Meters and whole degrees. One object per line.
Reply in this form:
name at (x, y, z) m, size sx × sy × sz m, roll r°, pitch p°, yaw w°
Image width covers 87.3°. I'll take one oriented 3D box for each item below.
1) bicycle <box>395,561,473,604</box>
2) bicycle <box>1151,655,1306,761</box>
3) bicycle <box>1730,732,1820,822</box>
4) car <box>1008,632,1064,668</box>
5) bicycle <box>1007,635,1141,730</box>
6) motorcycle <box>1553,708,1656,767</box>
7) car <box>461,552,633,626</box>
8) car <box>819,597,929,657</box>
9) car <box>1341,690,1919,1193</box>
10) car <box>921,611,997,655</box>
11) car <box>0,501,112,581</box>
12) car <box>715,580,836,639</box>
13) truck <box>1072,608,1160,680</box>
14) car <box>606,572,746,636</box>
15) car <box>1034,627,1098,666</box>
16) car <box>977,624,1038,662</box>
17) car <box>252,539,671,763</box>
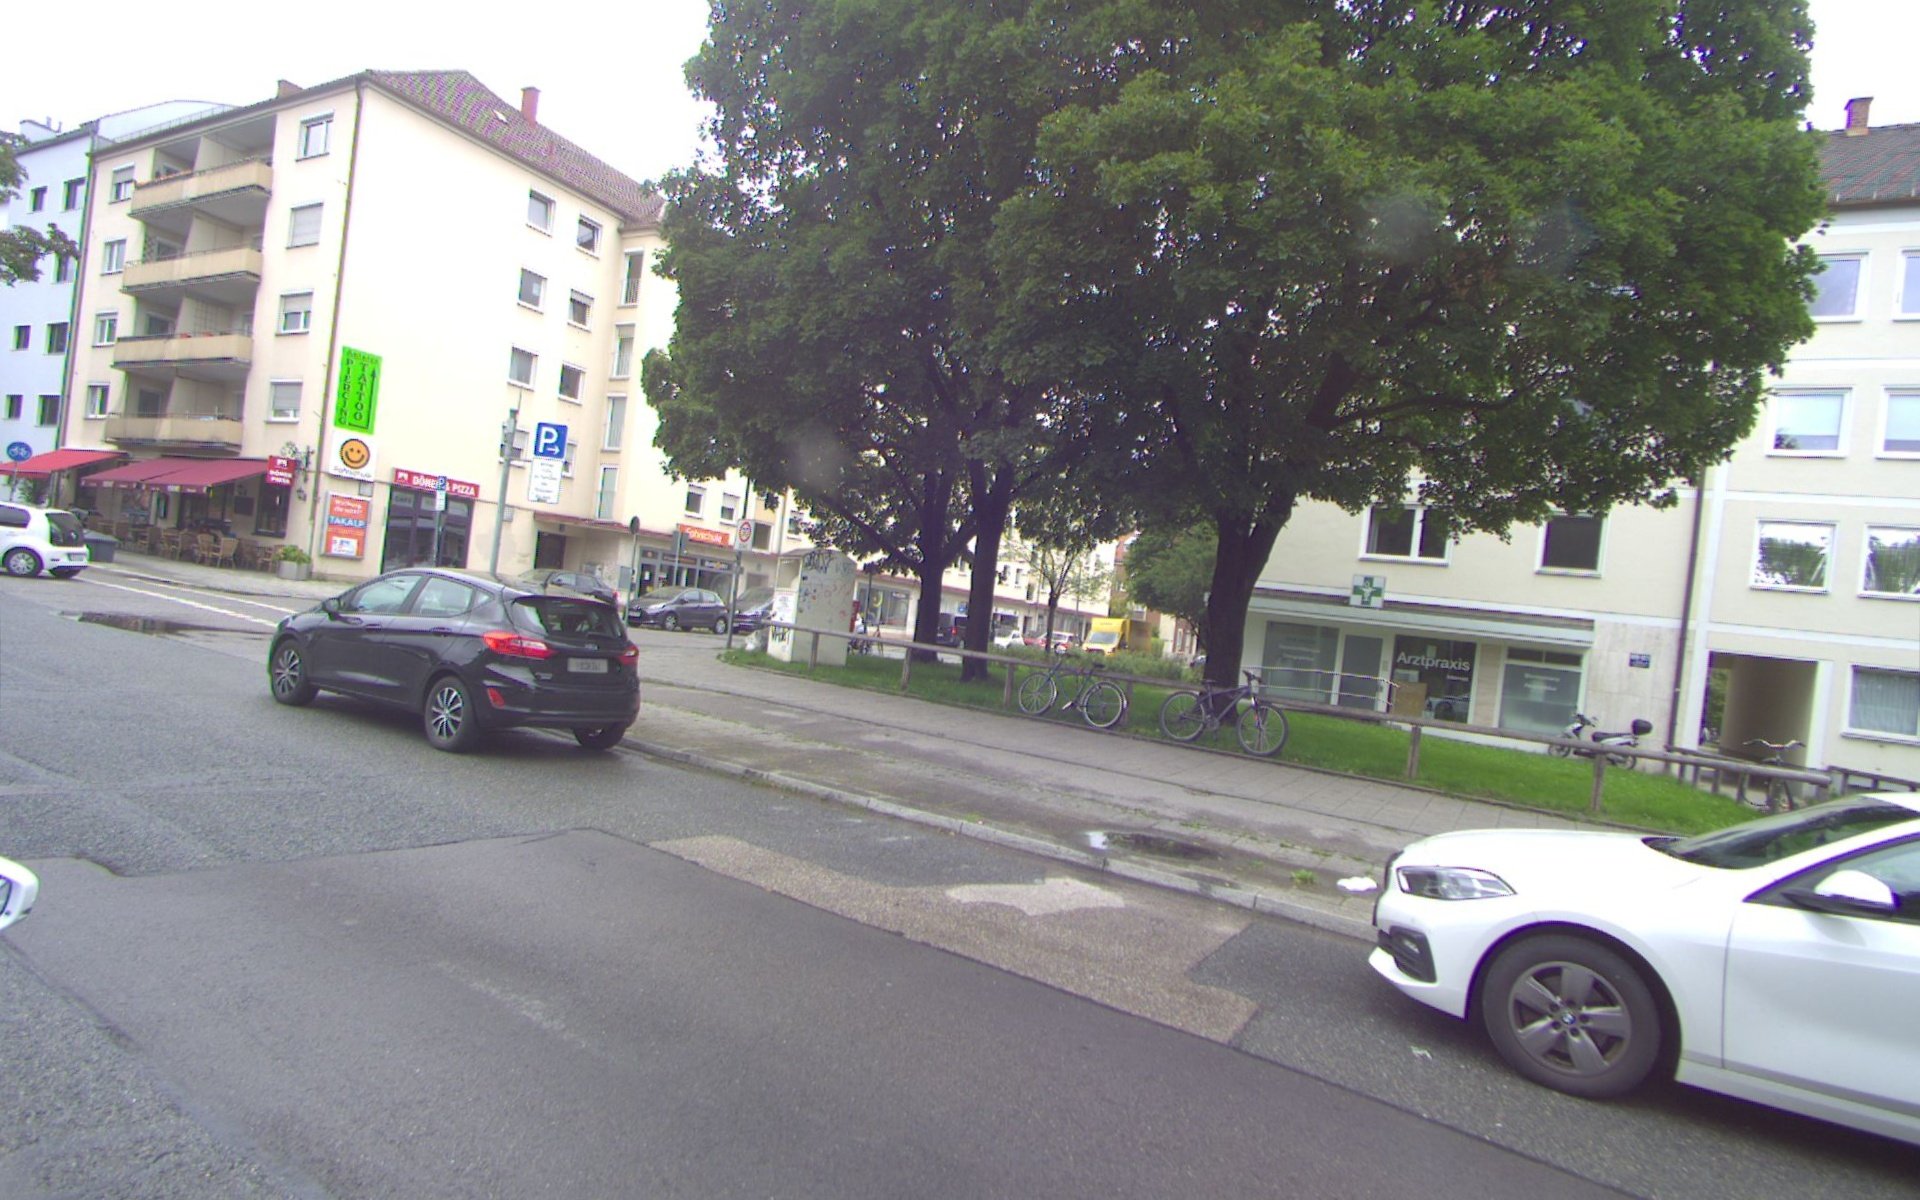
bicycle at (-14.788, -0.471, 28.331) m, size 0.548 × 0.968 × 1.852 m, roll 7°, pitch -2°, yaw 30°
bicycle at (3.563, 1.417, 13.420) m, size 1.852 × 1.116 × 0.382 m, roll 6°, pitch -1°, yaw 32°
bicycle at (10.150, 2.171, 12.581) m, size 0.548 × 0.950 × 1.881 m, roll 7°, pitch -2°, yaw 32°
car at (4.682, 3.074, 61.342) m, size 1.839 × 1.679 × 4.089 m, roll 7°, pitch -3°, yaw 27°
bicycle at (1.628, 1.180, 14.581) m, size 1.823 × 1.118 × 0.390 m, roll 6°, pitch -1°, yaw 32°
motorcycle at (14.857, 3.165, 23.250) m, size 1.875 × 1.035 × 0.605 m, roll 6°, pitch -1°, yaw 32°
car at (-11.920, -0.265, 29.380) m, size 1.838 × 1.681 × 4.403 m, roll 7°, pitch 0°, yaw 26°
car at (-3.201, 1.082, 38.515) m, size 1.839 × 1.679 × 4.741 m, roll 7°, pitch -3°, yaw 27°
car at (3.956, 1.453, 4.219) m, size 4.067 × 1.481 × 1.687 m, roll 7°, pitch -3°, yaw 30°
car at (0.036, 1.743, 52.007) m, size 1.839 × 1.679 × 4.751 m, roll 7°, pitch -3°, yaw 27°
car at (-19.851, -1.330, 20.381) m, size 3.508 × 1.434 × 1.864 m, roll 7°, pitch 0°, yaw -18°
car at (-6.983, 0.414, 38.591) m, size 1.840 × 1.794 × 4.743 m, roll 7°, pitch 0°, yaw 29°
truck at (8.601, 2.472, 54.677) m, size 2.318 × 3.282 × 7.427 m, roll 7°, pitch -2°, yaw 26°
car at (-9.402, 0.175, 33.641) m, size 1.839 × 1.681 × 4.402 m, roll 7°, pitch 0°, yaw 28°
car at (5.967, 2.627, 56.174) m, size 1.839 × 1.680 × 4.404 m, roll 8°, pitch -1°, yaw 28°
car at (2.762, 2.455, 57.359) m, size 1.839 × 1.679 × 4.089 m, roll 7°, pitch -3°, yaw 27°
car at (-4.637, 0.420, 9.270) m, size 3.613 × 1.482 × 1.621 m, roll 7°, pitch -3°, yaw 31°
